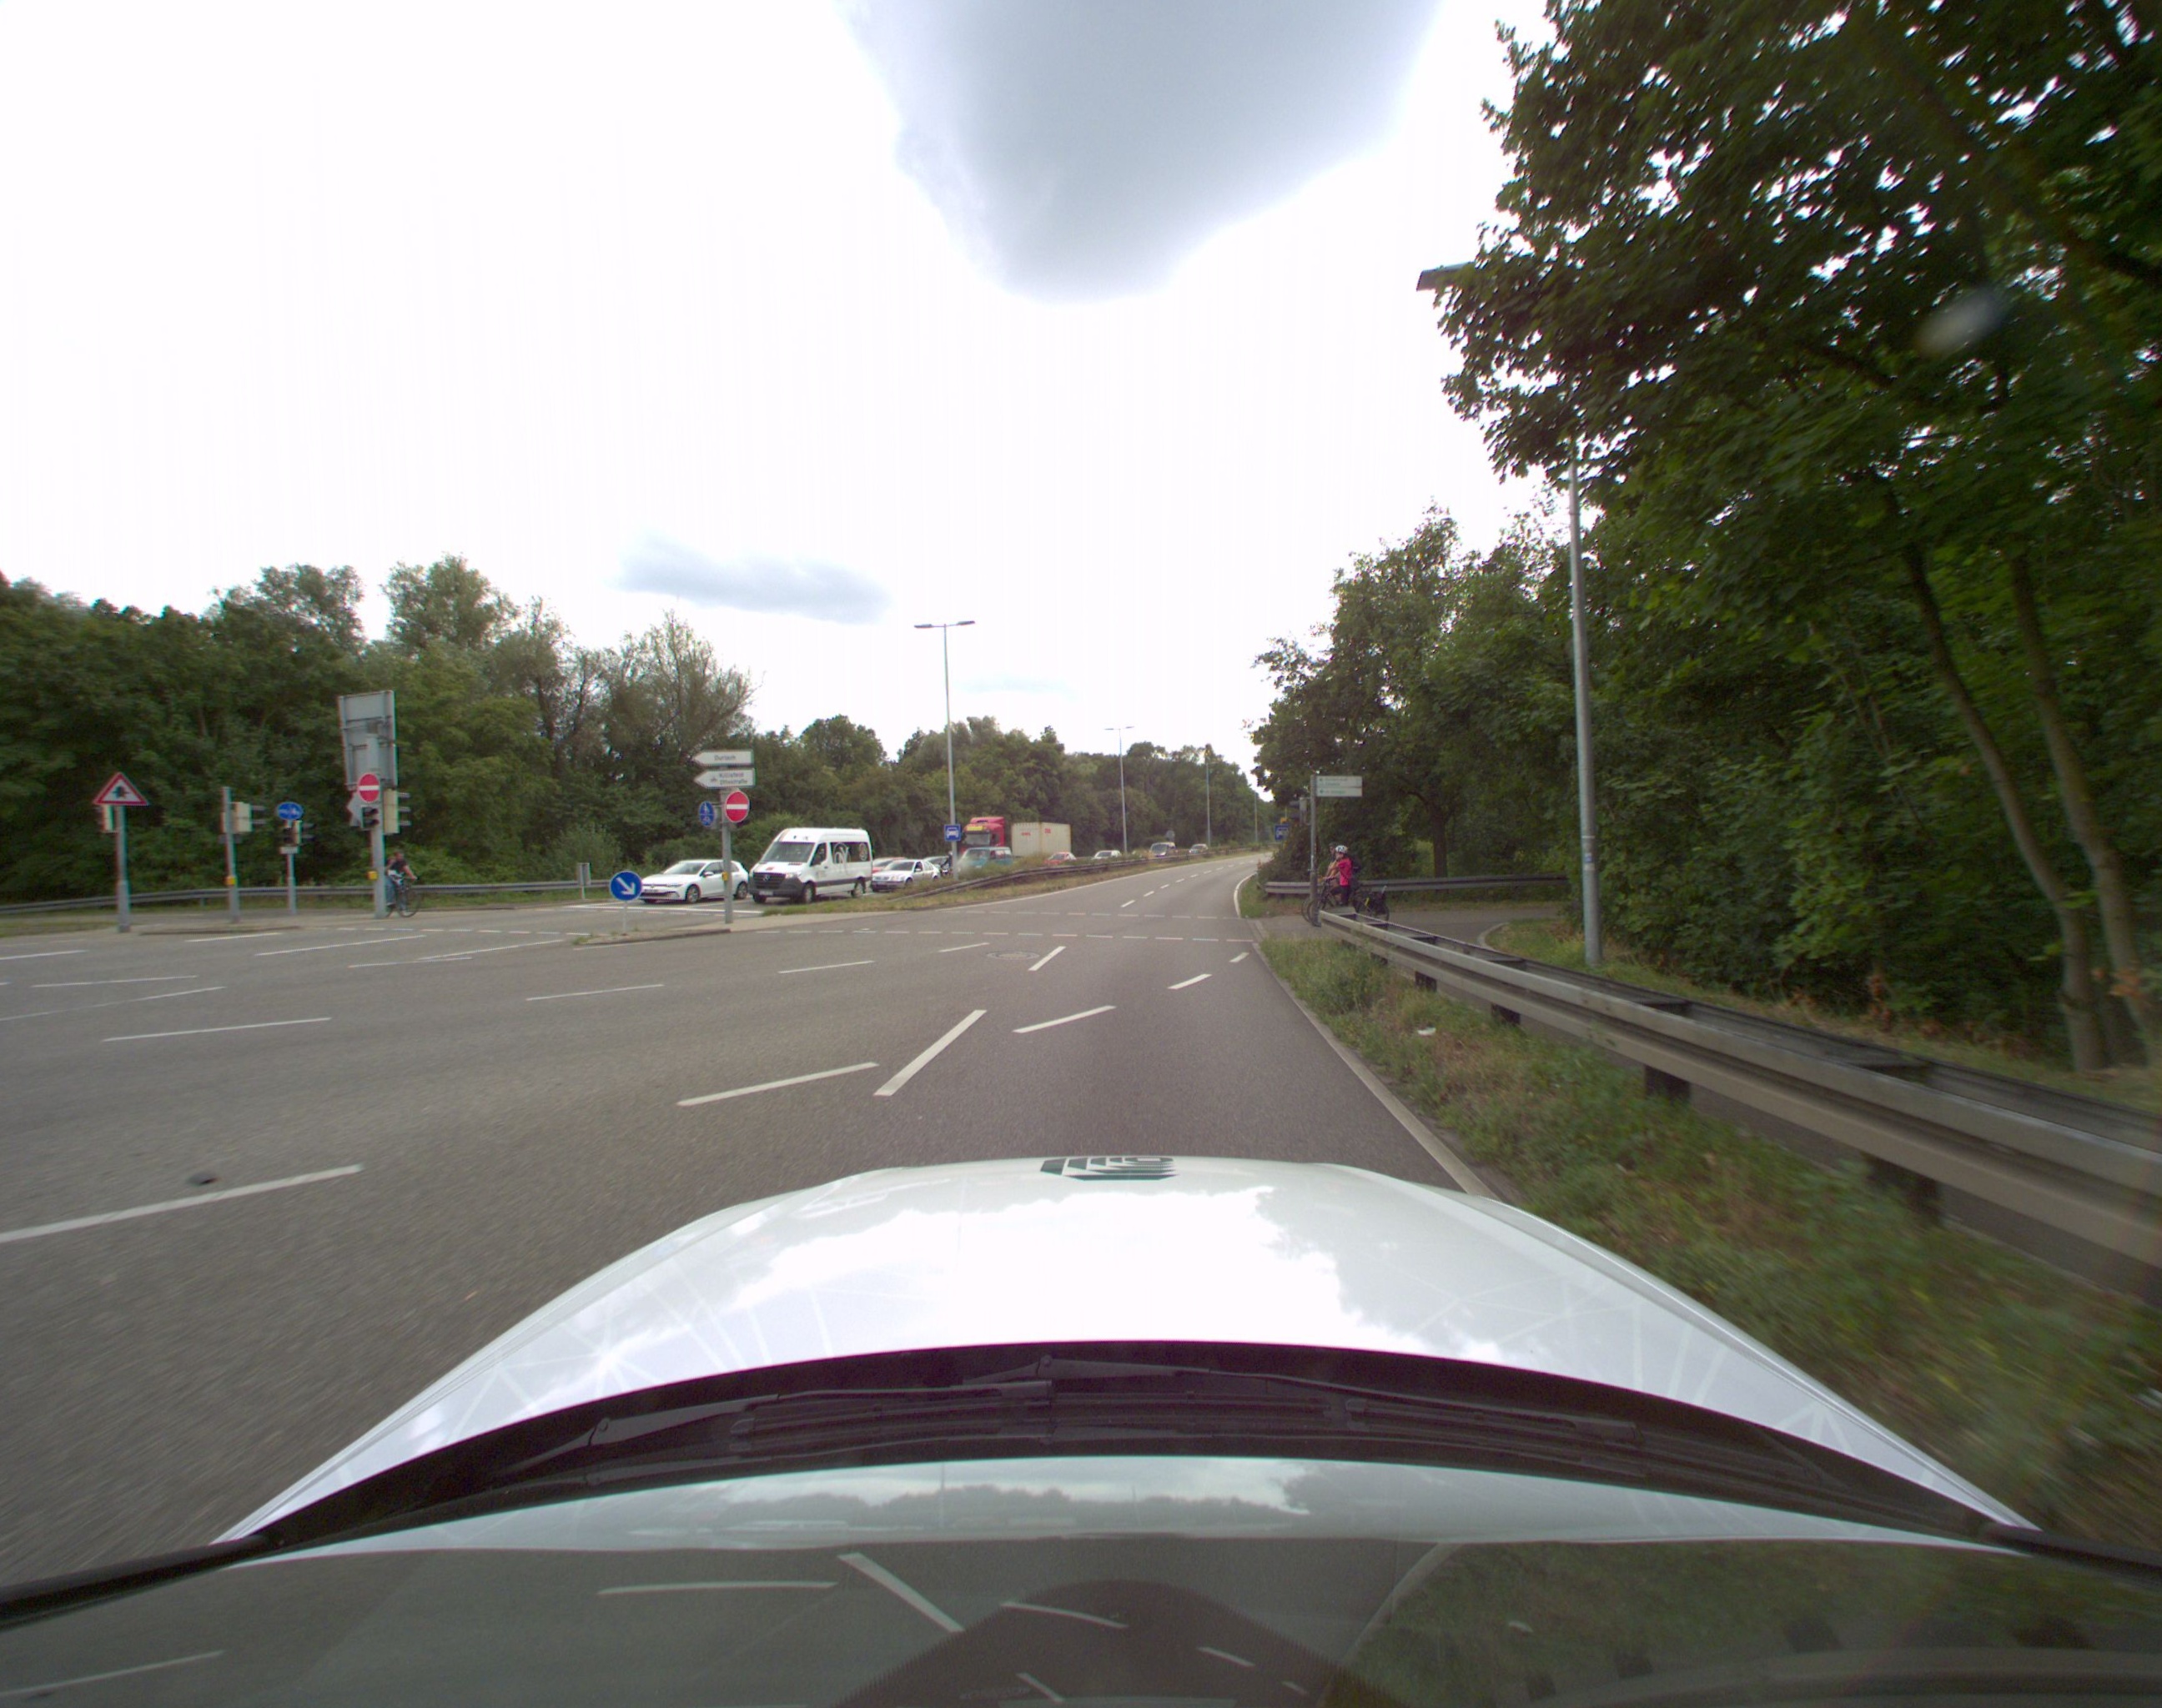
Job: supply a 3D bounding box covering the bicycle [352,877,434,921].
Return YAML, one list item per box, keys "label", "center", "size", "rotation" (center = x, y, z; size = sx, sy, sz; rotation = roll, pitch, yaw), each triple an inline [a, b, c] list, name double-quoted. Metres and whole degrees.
- label: "bicycle"
  center: [-17.992, 1.173, 21.302]
  size: [1.922, 1.052, 0.711]
  rotation: [-3, -1, 18]

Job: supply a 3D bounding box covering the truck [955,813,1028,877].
- label: "truck"
  center: [-5.917, -0.574, 54.765]
  size: [2.547, 4.083, 5.650]
  rotation: [-1, 0, 19]

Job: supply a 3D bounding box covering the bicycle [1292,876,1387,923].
- label: "bicycle"
  center: [5.905, 1.039, 18.682]
  size: [1.962, 0.941, 0.662]
  rotation: [-3, -1, 5]

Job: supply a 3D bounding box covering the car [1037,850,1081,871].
- label: "car"
  center: [-1.517, 0.474, 58.095]
  size: [1.790, 1.432, 4.145]
  rotation: [-1, 0, 18]

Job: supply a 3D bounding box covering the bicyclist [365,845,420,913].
- label: "bicyclist"
  center: [-18.018, 0.643, 21.328]
  size: [0.736, 1.735, 0.804]
  rotation: [-3, -1, 19]

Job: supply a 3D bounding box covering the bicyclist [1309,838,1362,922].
- label: "bicyclist"
  center: [5.827, 0.581, 18.681]
  size: [0.944, 1.844, 0.665]
  rotation: [-3, -1, 4]

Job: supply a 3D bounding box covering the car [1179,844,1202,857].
- label: "car"
  center: [12.883, -0.400, 95.361]
  size: [1.752, 1.506, 3.960]
  rotation: [-1, 0, 21]

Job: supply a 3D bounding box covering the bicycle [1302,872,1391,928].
- label: "bicycle"
  center: [5.659, 0.976, 17.346]
  size: [1.727, 1.138, 0.634]
  rotation: [-2, -1, 21]

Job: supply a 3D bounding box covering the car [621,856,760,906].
- label: "car"
  center: [-13.340, 0.875, 28.172]
  size: [1.981, 1.547, 4.553]
  rotation: [-1, 0, 11]

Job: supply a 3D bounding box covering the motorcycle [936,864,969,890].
- label: "motorcycle"
  center: [-6.301, 1.120, 40.068]
  size: [0.793, 1.224, 2.334]
  rotation: [-1, 0, 12]

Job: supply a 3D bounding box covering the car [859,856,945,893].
- label: "car"
  center: [-7.856, 0.868, 36.275]
  size: [1.979, 1.498, 4.416]
  rotation: [-1, 0, 14]

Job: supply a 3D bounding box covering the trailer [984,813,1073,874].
- label: "trailer"
  center: [-3.681, -0.695, 61.021]
  size: [2.514, 4.147, 10.824]
  rotation: [-1, 0, 19]

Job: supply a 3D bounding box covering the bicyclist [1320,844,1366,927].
- label: "bicyclist"
  center: [5.595, 0.672, 17.373]
  size: [0.843, 1.732, 0.640]
  rotation: [-2, -1, 22]

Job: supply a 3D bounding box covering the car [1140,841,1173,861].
- label: "car"
  center: [7.481, -0.262, 80.138]
  size: [1.993, 1.863, 5.304]
  rotation: [-1, 0, 19]

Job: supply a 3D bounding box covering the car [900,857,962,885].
- label: "car"
  center: [-8.490, 0.925, 46.442]
  size: [1.791, 1.466, 4.295]
  rotation: [-1, 0, 15]

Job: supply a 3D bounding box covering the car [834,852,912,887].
- label: "car"
  center: [-10.263, 0.737, 40.503]
  size: [1.979, 1.614, 4.016]
  rotation: [-1, 0, 15]

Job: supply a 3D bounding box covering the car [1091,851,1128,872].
- label: "car"
  center: [2.432, 0.579, 67.983]
  size: [1.825, 1.667, 4.356]
  rotation: [-1, 0, 19]

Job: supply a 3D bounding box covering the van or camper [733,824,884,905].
- label: "van or camper"
  center: [-9.633, 0.353, 29.611]
  size: [2.145, 2.589, 6.518]
  rotation: [-1, 0, 12]

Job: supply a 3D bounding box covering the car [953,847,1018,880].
- label: "car"
  center: [-5.293, 0.500, 45.808]
  size: [1.790, 1.729, 4.983]
  rotation: [-1, 0, 17]

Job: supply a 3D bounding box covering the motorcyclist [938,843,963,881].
- label: "motorcyclist"
  center: [-6.423, 0.383, 40.095]
  size: [0.859, 1.823, 0.928]
  rotation: [-1, 0, 13]
